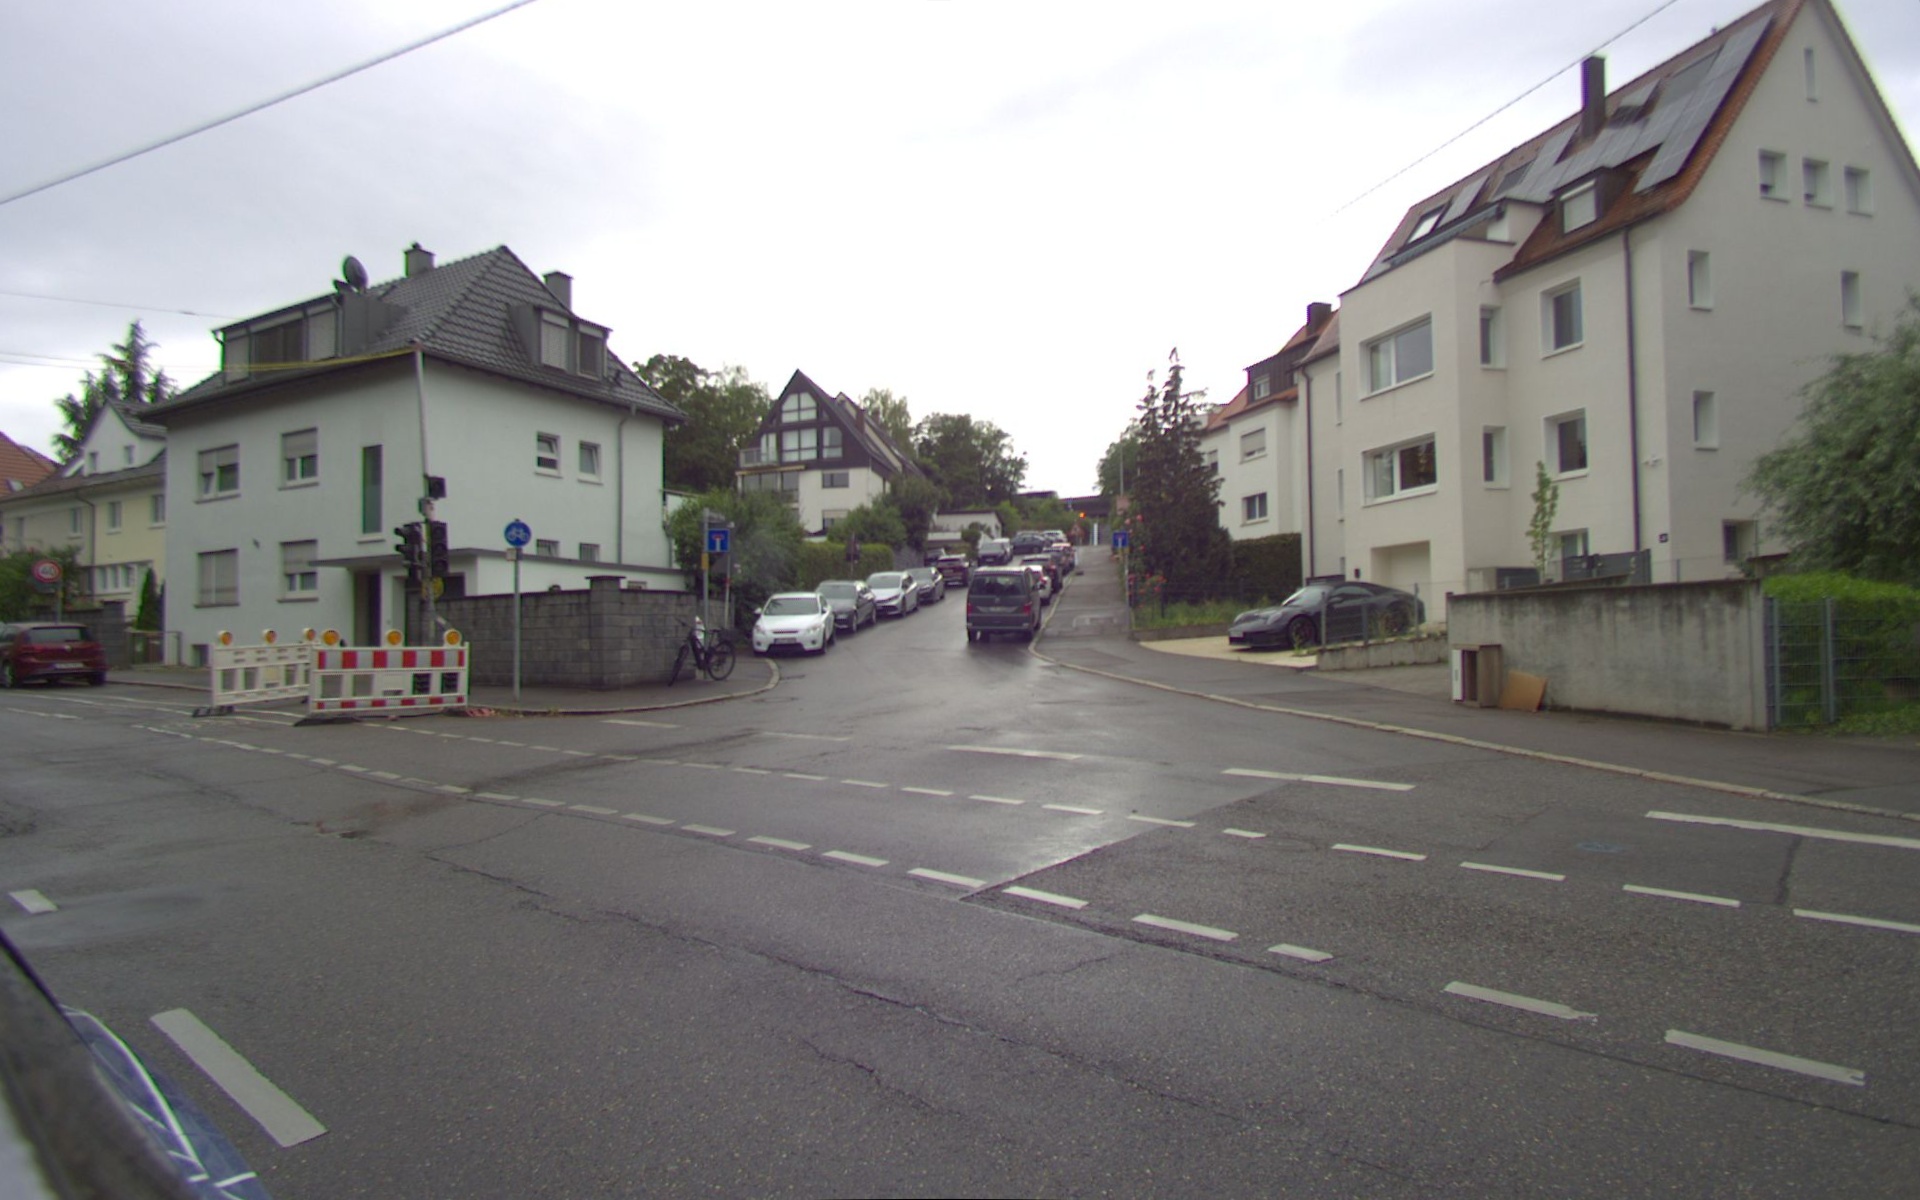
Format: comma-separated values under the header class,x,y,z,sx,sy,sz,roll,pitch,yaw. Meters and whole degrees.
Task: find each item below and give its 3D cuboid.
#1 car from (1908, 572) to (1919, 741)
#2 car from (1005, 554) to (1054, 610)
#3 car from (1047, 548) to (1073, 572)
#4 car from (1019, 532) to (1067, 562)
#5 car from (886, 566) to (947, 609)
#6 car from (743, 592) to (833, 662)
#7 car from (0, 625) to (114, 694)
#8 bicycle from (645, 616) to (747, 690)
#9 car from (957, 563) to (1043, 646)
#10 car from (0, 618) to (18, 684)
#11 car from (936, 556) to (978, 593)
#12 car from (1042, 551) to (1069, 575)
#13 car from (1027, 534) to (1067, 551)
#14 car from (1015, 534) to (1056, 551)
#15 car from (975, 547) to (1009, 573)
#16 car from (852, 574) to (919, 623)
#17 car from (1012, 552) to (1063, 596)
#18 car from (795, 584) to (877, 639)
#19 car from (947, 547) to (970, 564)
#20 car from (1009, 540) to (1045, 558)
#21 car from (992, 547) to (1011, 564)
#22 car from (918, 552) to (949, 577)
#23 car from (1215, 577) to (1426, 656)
class,x,y,z,sx,sy,sz,roll,pitch,yaw
car,10.610,0.419,8.545,3.934,1.497,1.780,-2,-1,-12
car,2.825,-0.757,40.321,1.686,1.843,4.194,-1,6,7
car,6.242,-2.450,62.845,1.488,1.373,3.465,-1,0,8
car,7.207,-4.565,87.640,3.954,2.028,1.995,-5,-1,8
car,-1.802,-0.556,42.956,1.903,1.448,4.100,-1,5,7
car,-4.349,0.622,26.153,1.827,1.473,4.124,-1,3,-3
car,-21.464,1.332,23.379,3.833,1.443,1.768,-1,-1,30
bicycle,-4.781,0.929,18.454,0.508,1.249,1.984,1,0,32
car,1.247,0.047,29.322,1.978,2.028,4.482,-1,4,9
car,-26.148,1.316,25.771,4.131,1.653,1.782,-1,-1,25
car,-0.109,-1.366,52.462,1.623,1.637,3.992,-1,5,8
car,5.508,-2.146,58.108,1.274,1.325,2.984,-1,3,10
car,8.944,-5.902,103.911,3.782,1.529,1.664,-1,-1,15
car,7.396,-5.592,98.785,3.922,1.528,1.748,-1,0,6
car,2.201,-2.673,68.883,1.770,1.531,4.016,-1,0,9
car,-2.653,-0.087,37.084,1.738,1.481,3.940,-1,4,6
car,3.526,-1.196,45.373,1.823,1.699,4.039,-1,5,11
car,-3.822,0.317,31.815,1.702,1.397,3.900,-1,4,6
car,-0.077,-3.261,74.018,1.559,1.220,3.650,-1,3,2
car,5.558,-4.201,83.651,2.914,1.328,1.282,-1,0,4
car,3.063,-3.329,74.708,1.292,1.206,2.980,-1,3,5
car,-1.822,-2.421,69.790,1.793,1.566,4.009,-1,0,3
car,7.712,0.331,21.769,3.942,1.290,1.613,-5,1,-13
